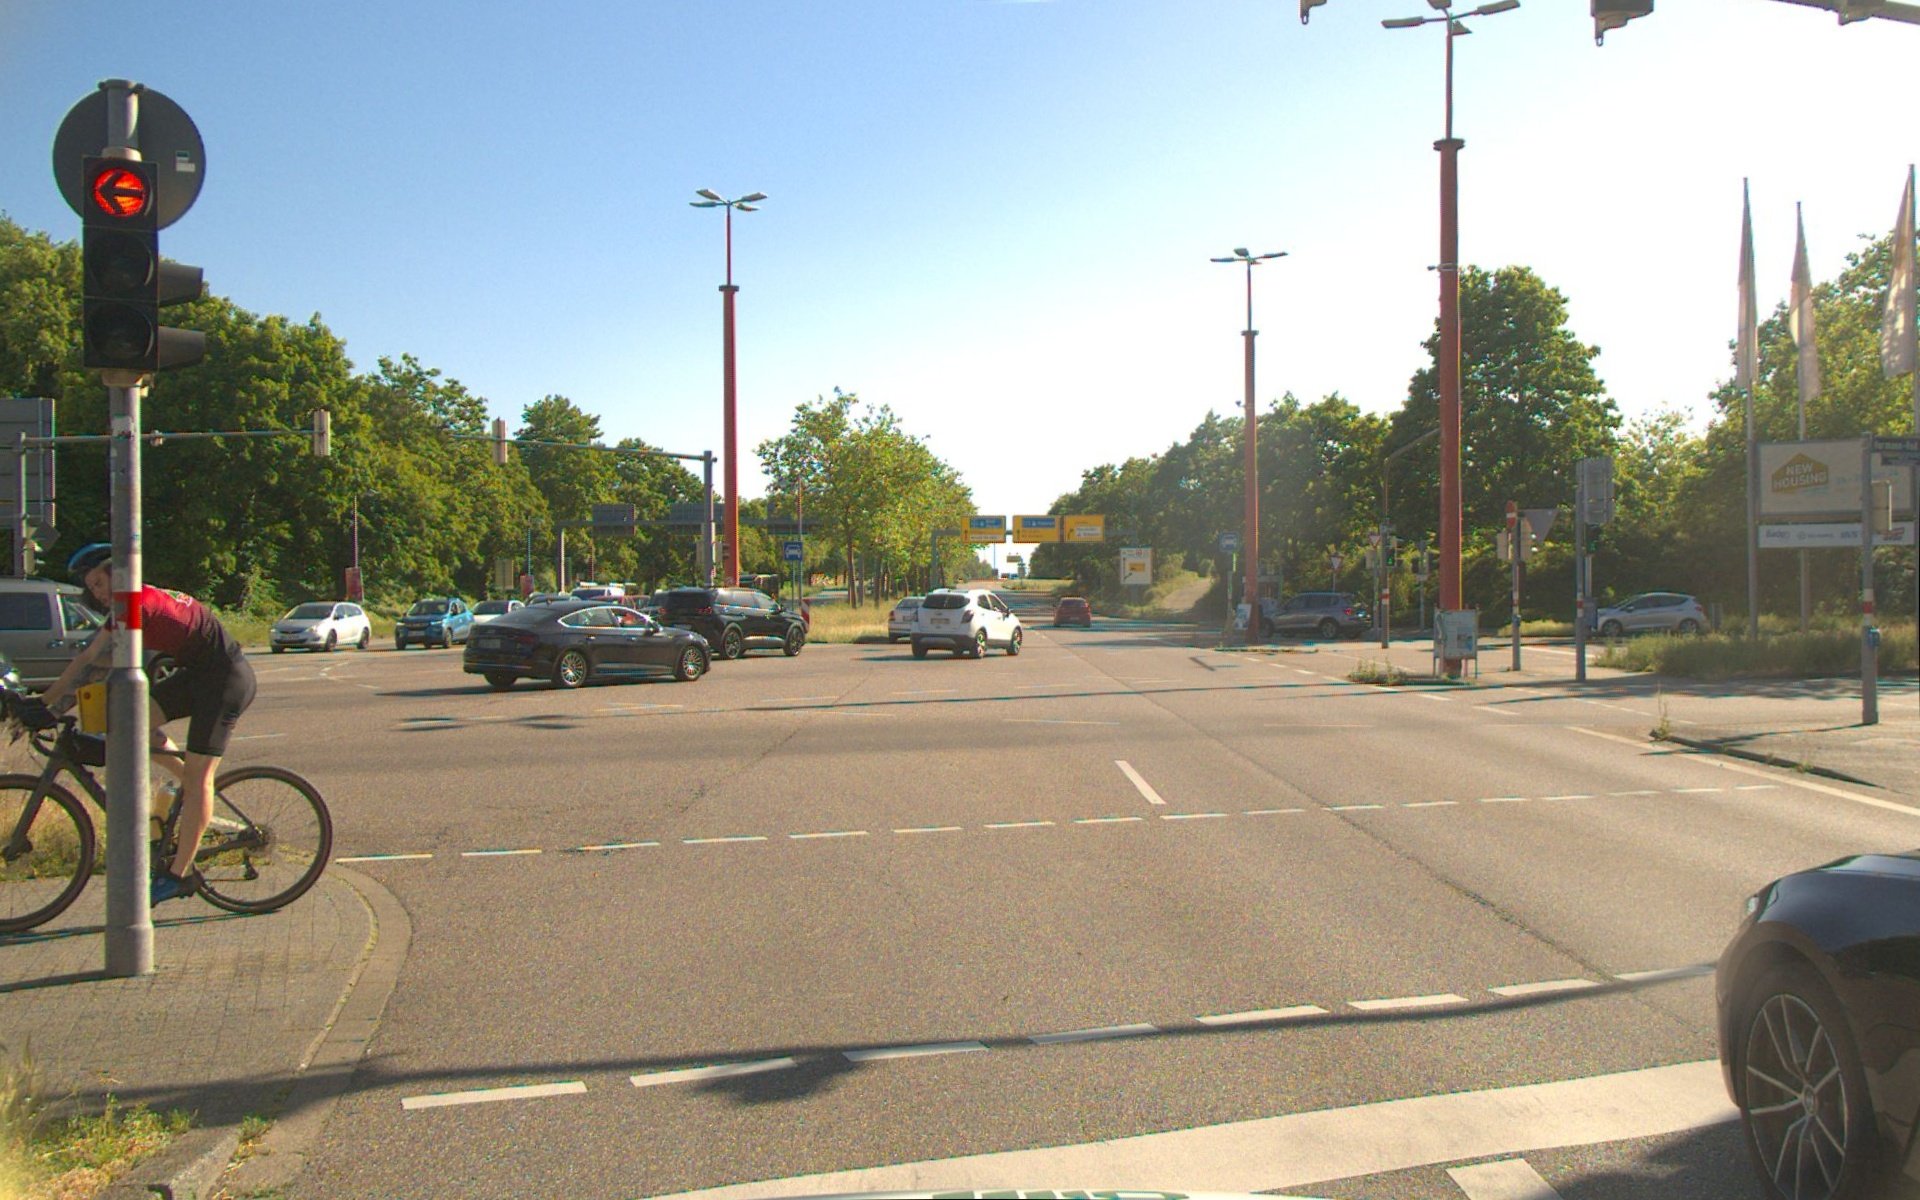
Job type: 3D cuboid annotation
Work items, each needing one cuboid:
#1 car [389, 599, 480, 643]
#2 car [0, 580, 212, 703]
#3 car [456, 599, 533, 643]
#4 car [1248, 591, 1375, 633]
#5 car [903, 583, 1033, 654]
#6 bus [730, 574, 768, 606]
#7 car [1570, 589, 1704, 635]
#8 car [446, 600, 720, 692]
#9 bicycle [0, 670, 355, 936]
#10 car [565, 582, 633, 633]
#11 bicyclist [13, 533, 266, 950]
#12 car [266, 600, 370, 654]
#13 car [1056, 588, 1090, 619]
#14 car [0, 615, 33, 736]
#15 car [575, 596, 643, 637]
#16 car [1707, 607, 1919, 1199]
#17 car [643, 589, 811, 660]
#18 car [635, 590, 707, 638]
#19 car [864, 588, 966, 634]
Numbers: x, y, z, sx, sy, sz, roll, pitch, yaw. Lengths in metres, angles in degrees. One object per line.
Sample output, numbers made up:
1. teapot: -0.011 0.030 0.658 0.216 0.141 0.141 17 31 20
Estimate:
1. car: -16.051 0.611 50.674 1.704 1.265 3.611 0 0 -2
2. car: -13.693 0.580 24.685 1.817 1.738 4.285 0 0 40
3. car: -15.928 0.701 56.791 1.704 1.436 3.611 0 0 -2
4. car: 12.971 0.440 61.105 4.243 1.511 1.778 0 0 37
5. car: 0.266 0.431 41.280 1.785 1.665 4.252 0 0 22
6. bus: -22.035 -1.017 173.195 2.440 3.295 10.001 0 0 1
7. car: 22.793 0.402 55.825 3.896 1.493 1.685 0 0 9
8. car: -6.146 0.704 27.384 1.731 1.373 4.344 0 0 37
9. bicycle: -3.745 0.892 7.590 1.800 1.076 0.718 0 0 -22
10. car: -15.402 0.319 70.836 1.855 2.061 5.221 1 0 -2
11. bicyclist: -3.727 0.598 7.578 0.981 1.772 0.731 0 0 -25
12. car: -19.474 0.775 50.312 1.725 1.559 3.934 0 0 -2
13. car: 5.559 0.160 81.588 1.645 1.460 4.067 0 0 3
14. car: -12.872 0.880 18.244 1.736 1.373 4.332 0 0 45
15. car: -12.277 0.553 58.073 1.704 1.386 3.611 0 0 -2
16. car: 2.943 0.735 2.359 1.831 1.422 4.444 0 0 1
17. car: -5.417 0.544 38.957 1.816 1.572 4.257 0 0 27
18. car: -9.710 0.458 55.883 1.782 1.534 3.999 0 0 -1
19. car: -1.364 0.362 52.092 1.454 1.369 3.994 0 -1 28
